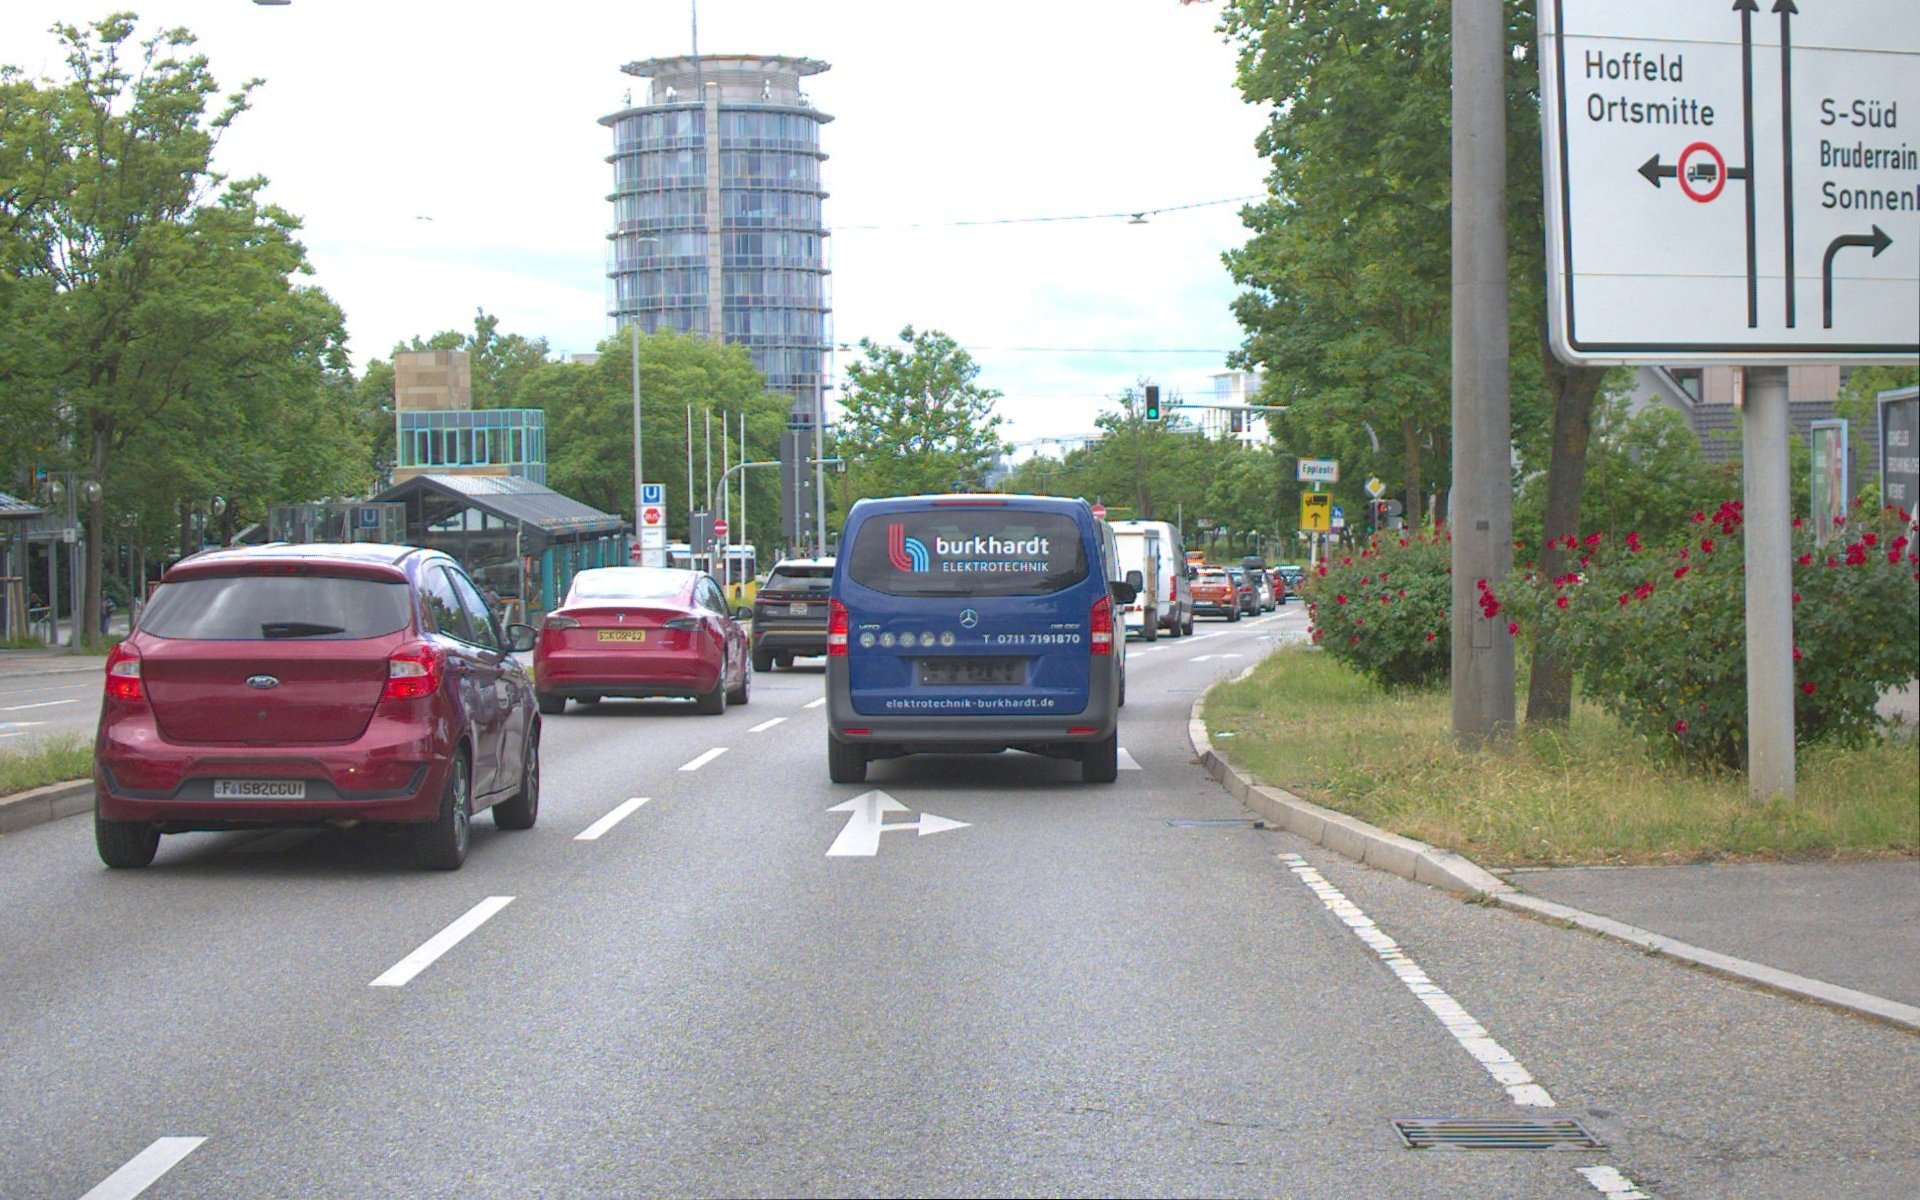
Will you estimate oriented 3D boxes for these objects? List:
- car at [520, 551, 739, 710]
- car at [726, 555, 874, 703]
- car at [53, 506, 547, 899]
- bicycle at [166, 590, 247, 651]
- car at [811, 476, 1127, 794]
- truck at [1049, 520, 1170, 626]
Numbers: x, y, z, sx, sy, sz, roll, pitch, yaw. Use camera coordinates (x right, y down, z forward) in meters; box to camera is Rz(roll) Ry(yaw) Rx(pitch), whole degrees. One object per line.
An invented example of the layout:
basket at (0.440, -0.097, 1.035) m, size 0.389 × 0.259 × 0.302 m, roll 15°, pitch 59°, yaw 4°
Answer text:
car at (-3.263, 0.311, 34.614) m, size 1.868 × 1.481 × 4.000 m, roll -1°, pitch -1°, yaw -1°
car at (-2.295, 0.375, 50.227) m, size 1.993 × 2.007 × 4.000 m, roll 1°, pitch 1°, yaw -1°
car at (-3.151, 0.442, 17.161) m, size 1.746 × 1.718 × 4.000 m, roll -1°, pitch 0°, yaw -1°
bicycle at (-16.471, 0.445, 75.213) m, size 1.052 × 1.266 × 2.424 m, roll 1°, pitch 1°, yaw 4°
car at (0.032, 0.202, 23.518) m, size 1.948 × 1.959 × 4.541 m, roll 0°, pitch 0°, yaw -1°
truck at (3.269, -0.575, 74.188) m, size 1.994 × 2.158 × 5.557 m, roll 1°, pitch 1°, yaw 8°
